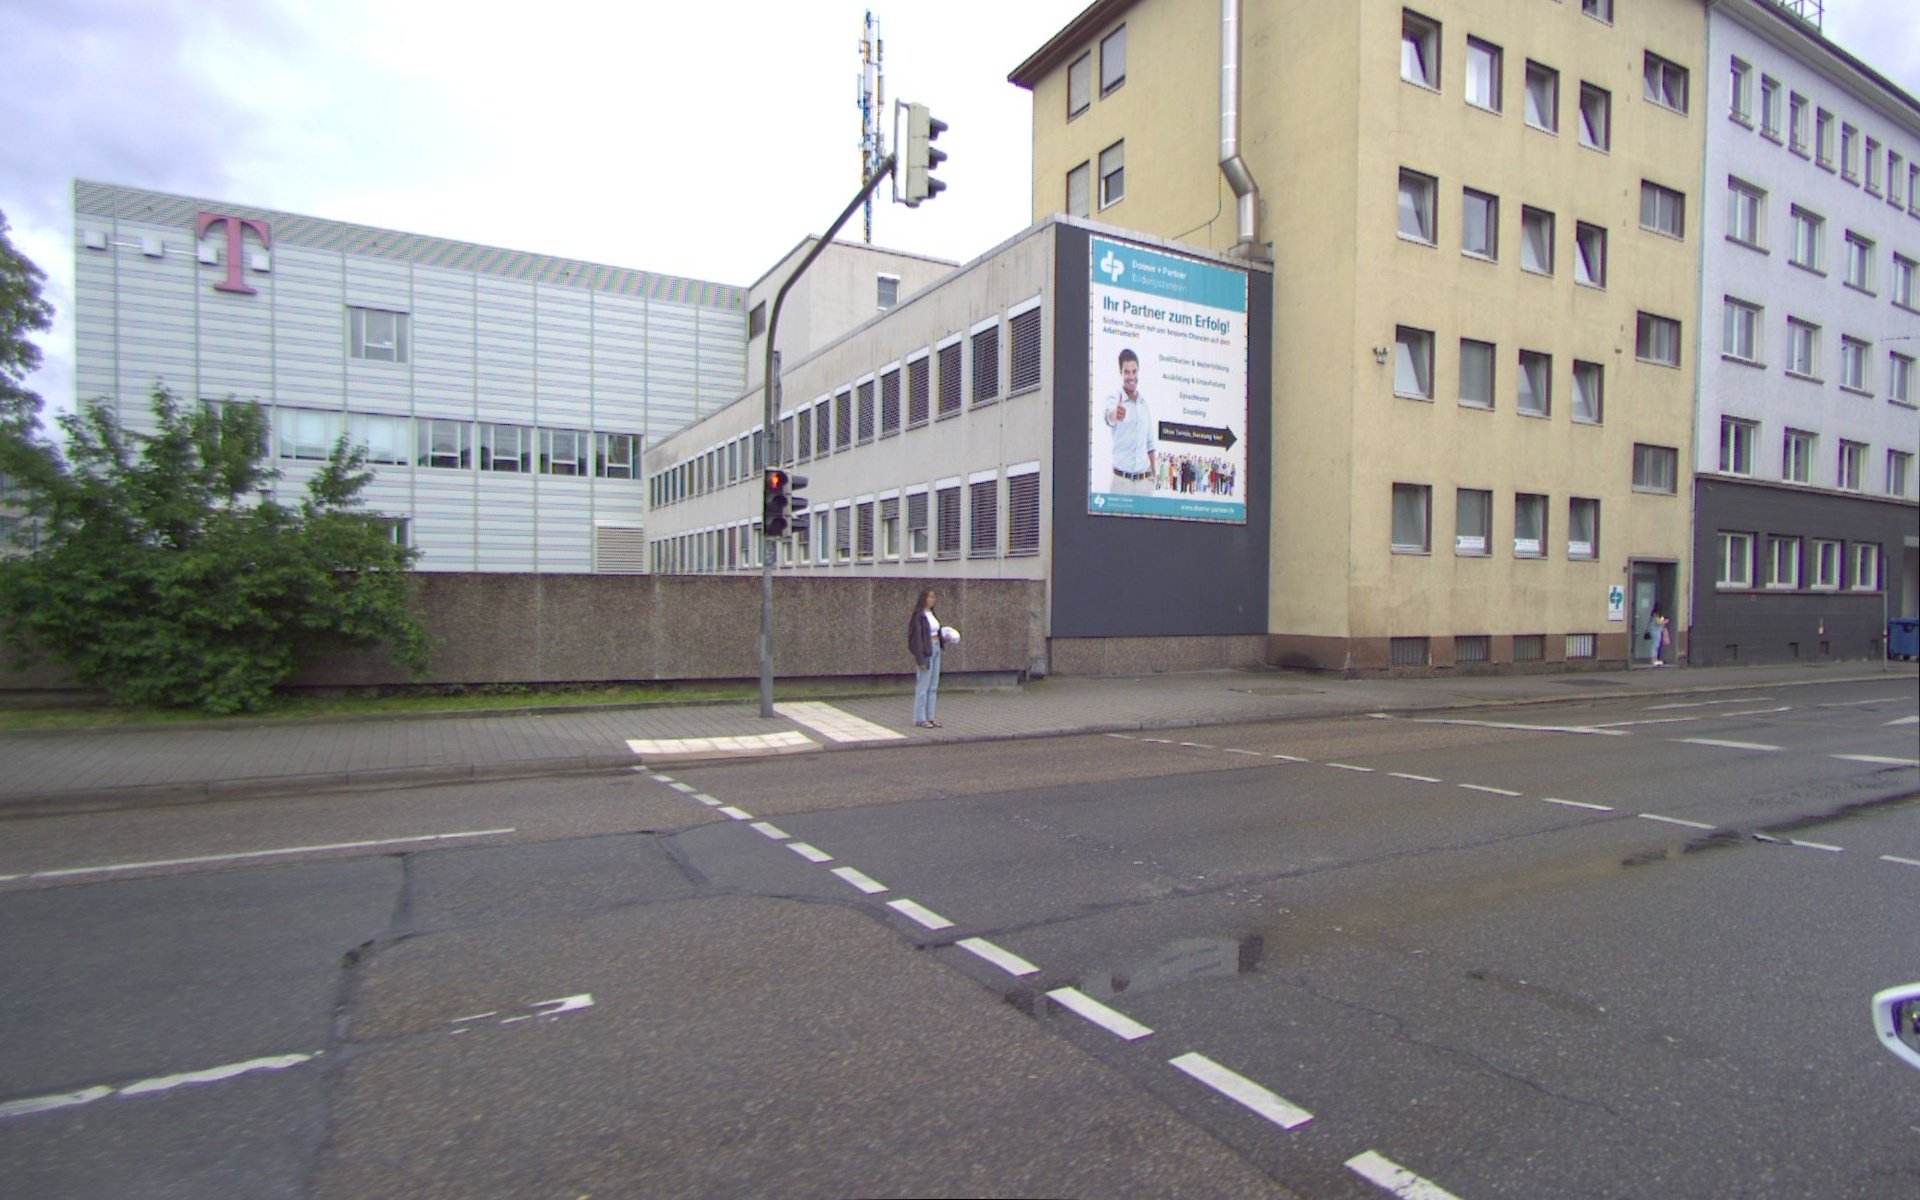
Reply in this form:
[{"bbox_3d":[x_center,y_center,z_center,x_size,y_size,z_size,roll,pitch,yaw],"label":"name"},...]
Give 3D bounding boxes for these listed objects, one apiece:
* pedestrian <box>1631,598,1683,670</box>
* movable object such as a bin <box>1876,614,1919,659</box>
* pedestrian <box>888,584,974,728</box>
[{"bbox_3d":[17.166,0.828,24.744,0.801,1.712,0.714,1,2,-28],"label":"pedestrian"},{"bbox_3d":[29.756,1.134,31.583,1.176,1.342,1.071,1,2,-29],"label":"movable object such as a bin"},{"bbox_3d":[-0.373,0.676,12.564,0.801,1.712,0.714,1,2,-28],"label":"pedestrian"}]
